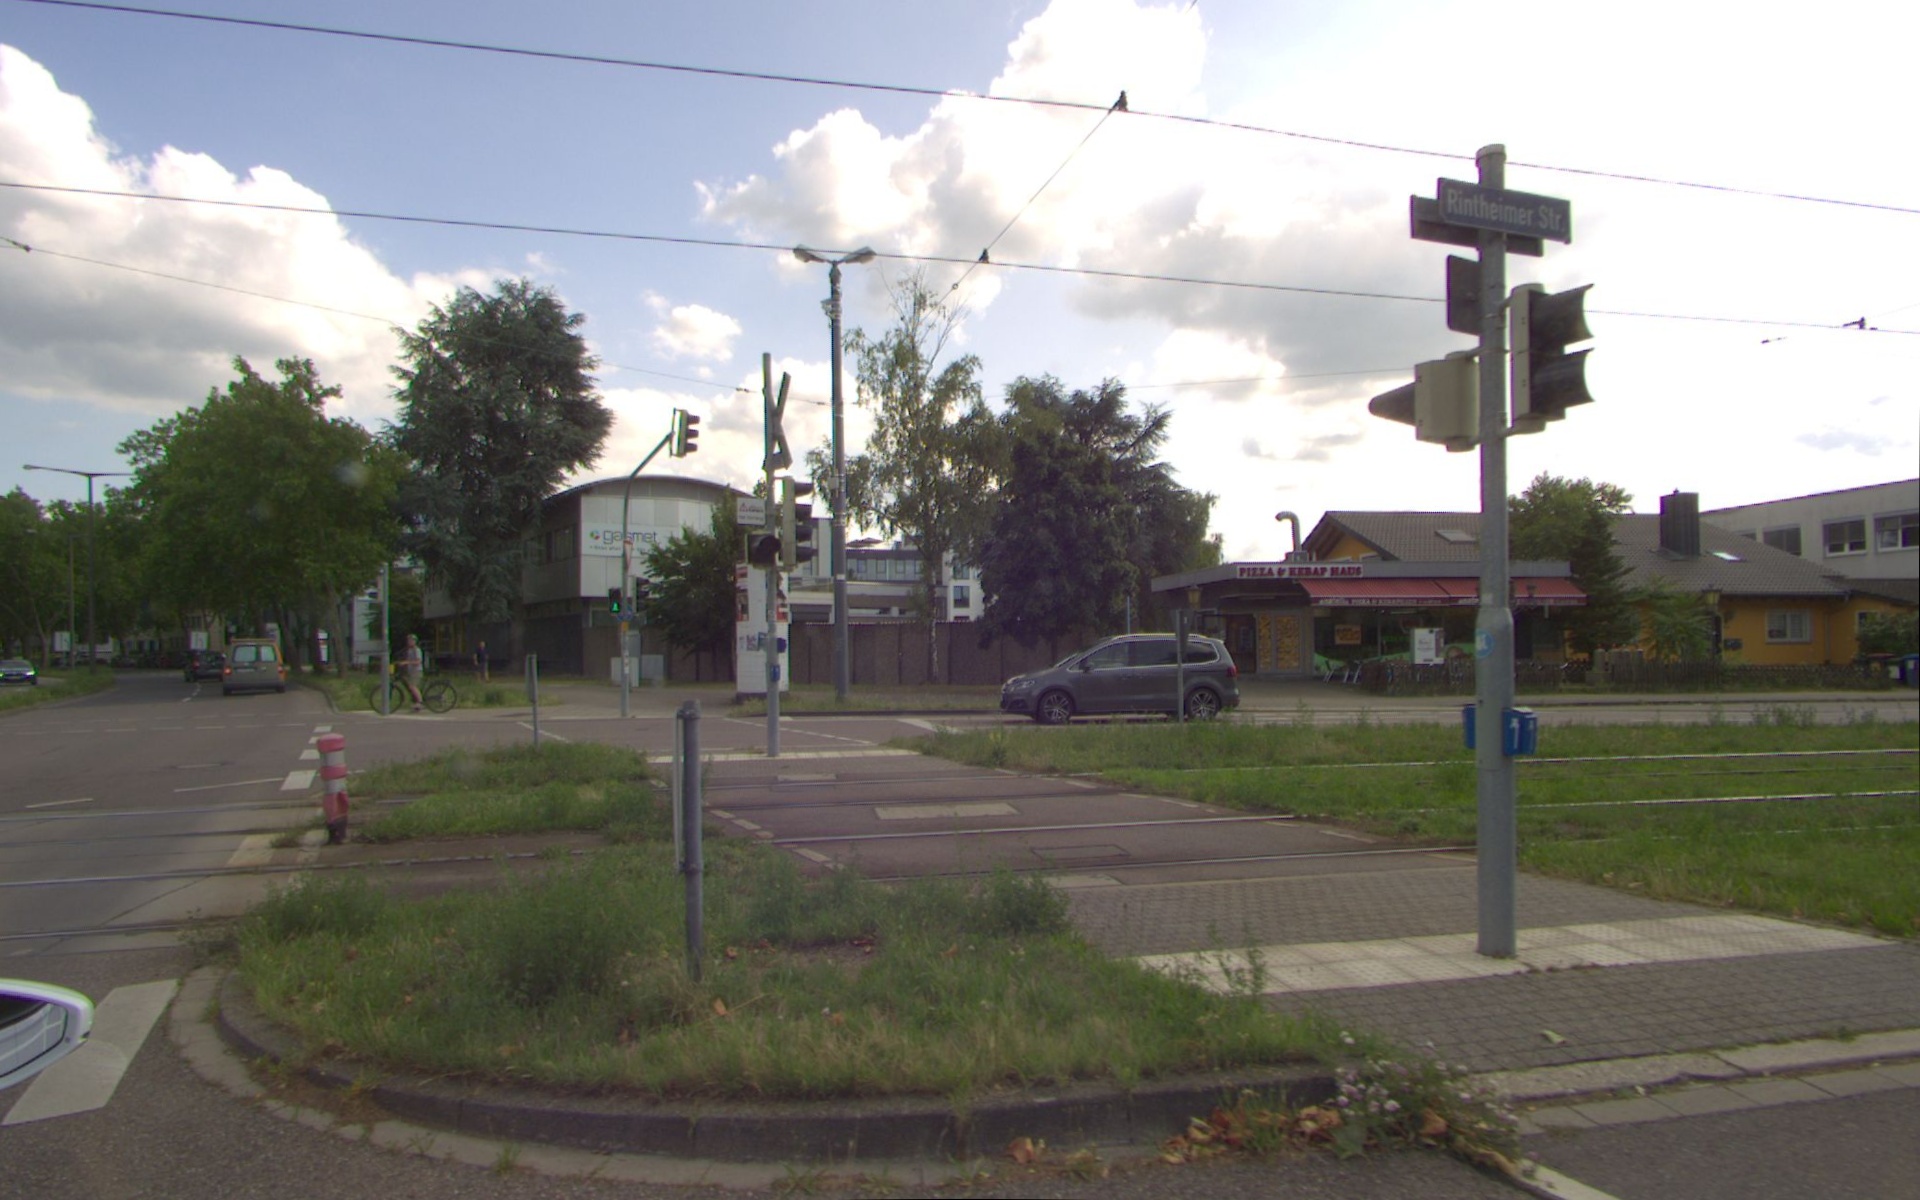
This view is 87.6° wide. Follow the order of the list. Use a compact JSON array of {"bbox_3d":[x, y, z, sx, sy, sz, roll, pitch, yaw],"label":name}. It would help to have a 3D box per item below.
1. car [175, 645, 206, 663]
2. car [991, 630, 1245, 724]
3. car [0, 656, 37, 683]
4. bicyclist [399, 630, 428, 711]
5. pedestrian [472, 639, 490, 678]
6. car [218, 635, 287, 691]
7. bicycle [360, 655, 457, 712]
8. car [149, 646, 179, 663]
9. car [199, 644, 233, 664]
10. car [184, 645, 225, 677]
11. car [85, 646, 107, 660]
[{"bbox_3d":[-77.532,5.398,100.902,3.959,1.594,1.982,0,-1,45],"label":"car"},{"bbox_3d":[3.064,1.504,20.050,4.649,1.743,2.001,0,-2,-6],"label":"car"},{"bbox_3d":[-53.440,3.927,56.724,1.646,1.288,3.734,1,-1,-44],"label":"car"},{"bbox_3d":[-12.709,1.623,23.298,0.536,1.833,0.539,1,0,-25],"label":"bicyclist"},{"bbox_3d":[-20.356,2.477,42.562,0.614,1.590,0.555,0,0,-34],"label":"pedestrian"},{"bbox_3d":[-24.816,2.163,35.116,1.861,1.822,4.341,1,-3,-36],"label":"car"},{"bbox_3d":[-12.787,1.918,23.268,1.921,1.252,0.539,1,0,-25],"label":"bicycle"},{"bbox_3d":[-84.223,5.738,105.935,3.959,1.594,1.982,0,-1,45],"label":"car"},{"bbox_3d":[-68.842,4.984,92.681,3.959,1.594,1.982,0,-1,45],"label":"car"},{"bbox_3d":[-40.528,3.281,53.735,1.715,1.650,4.024,1,-3,-37],"label":"car"},{"bbox_3d":[-114.040,6.964,132.154,3.959,1.594,1.982,0,-1,45],"label":"car"}]
